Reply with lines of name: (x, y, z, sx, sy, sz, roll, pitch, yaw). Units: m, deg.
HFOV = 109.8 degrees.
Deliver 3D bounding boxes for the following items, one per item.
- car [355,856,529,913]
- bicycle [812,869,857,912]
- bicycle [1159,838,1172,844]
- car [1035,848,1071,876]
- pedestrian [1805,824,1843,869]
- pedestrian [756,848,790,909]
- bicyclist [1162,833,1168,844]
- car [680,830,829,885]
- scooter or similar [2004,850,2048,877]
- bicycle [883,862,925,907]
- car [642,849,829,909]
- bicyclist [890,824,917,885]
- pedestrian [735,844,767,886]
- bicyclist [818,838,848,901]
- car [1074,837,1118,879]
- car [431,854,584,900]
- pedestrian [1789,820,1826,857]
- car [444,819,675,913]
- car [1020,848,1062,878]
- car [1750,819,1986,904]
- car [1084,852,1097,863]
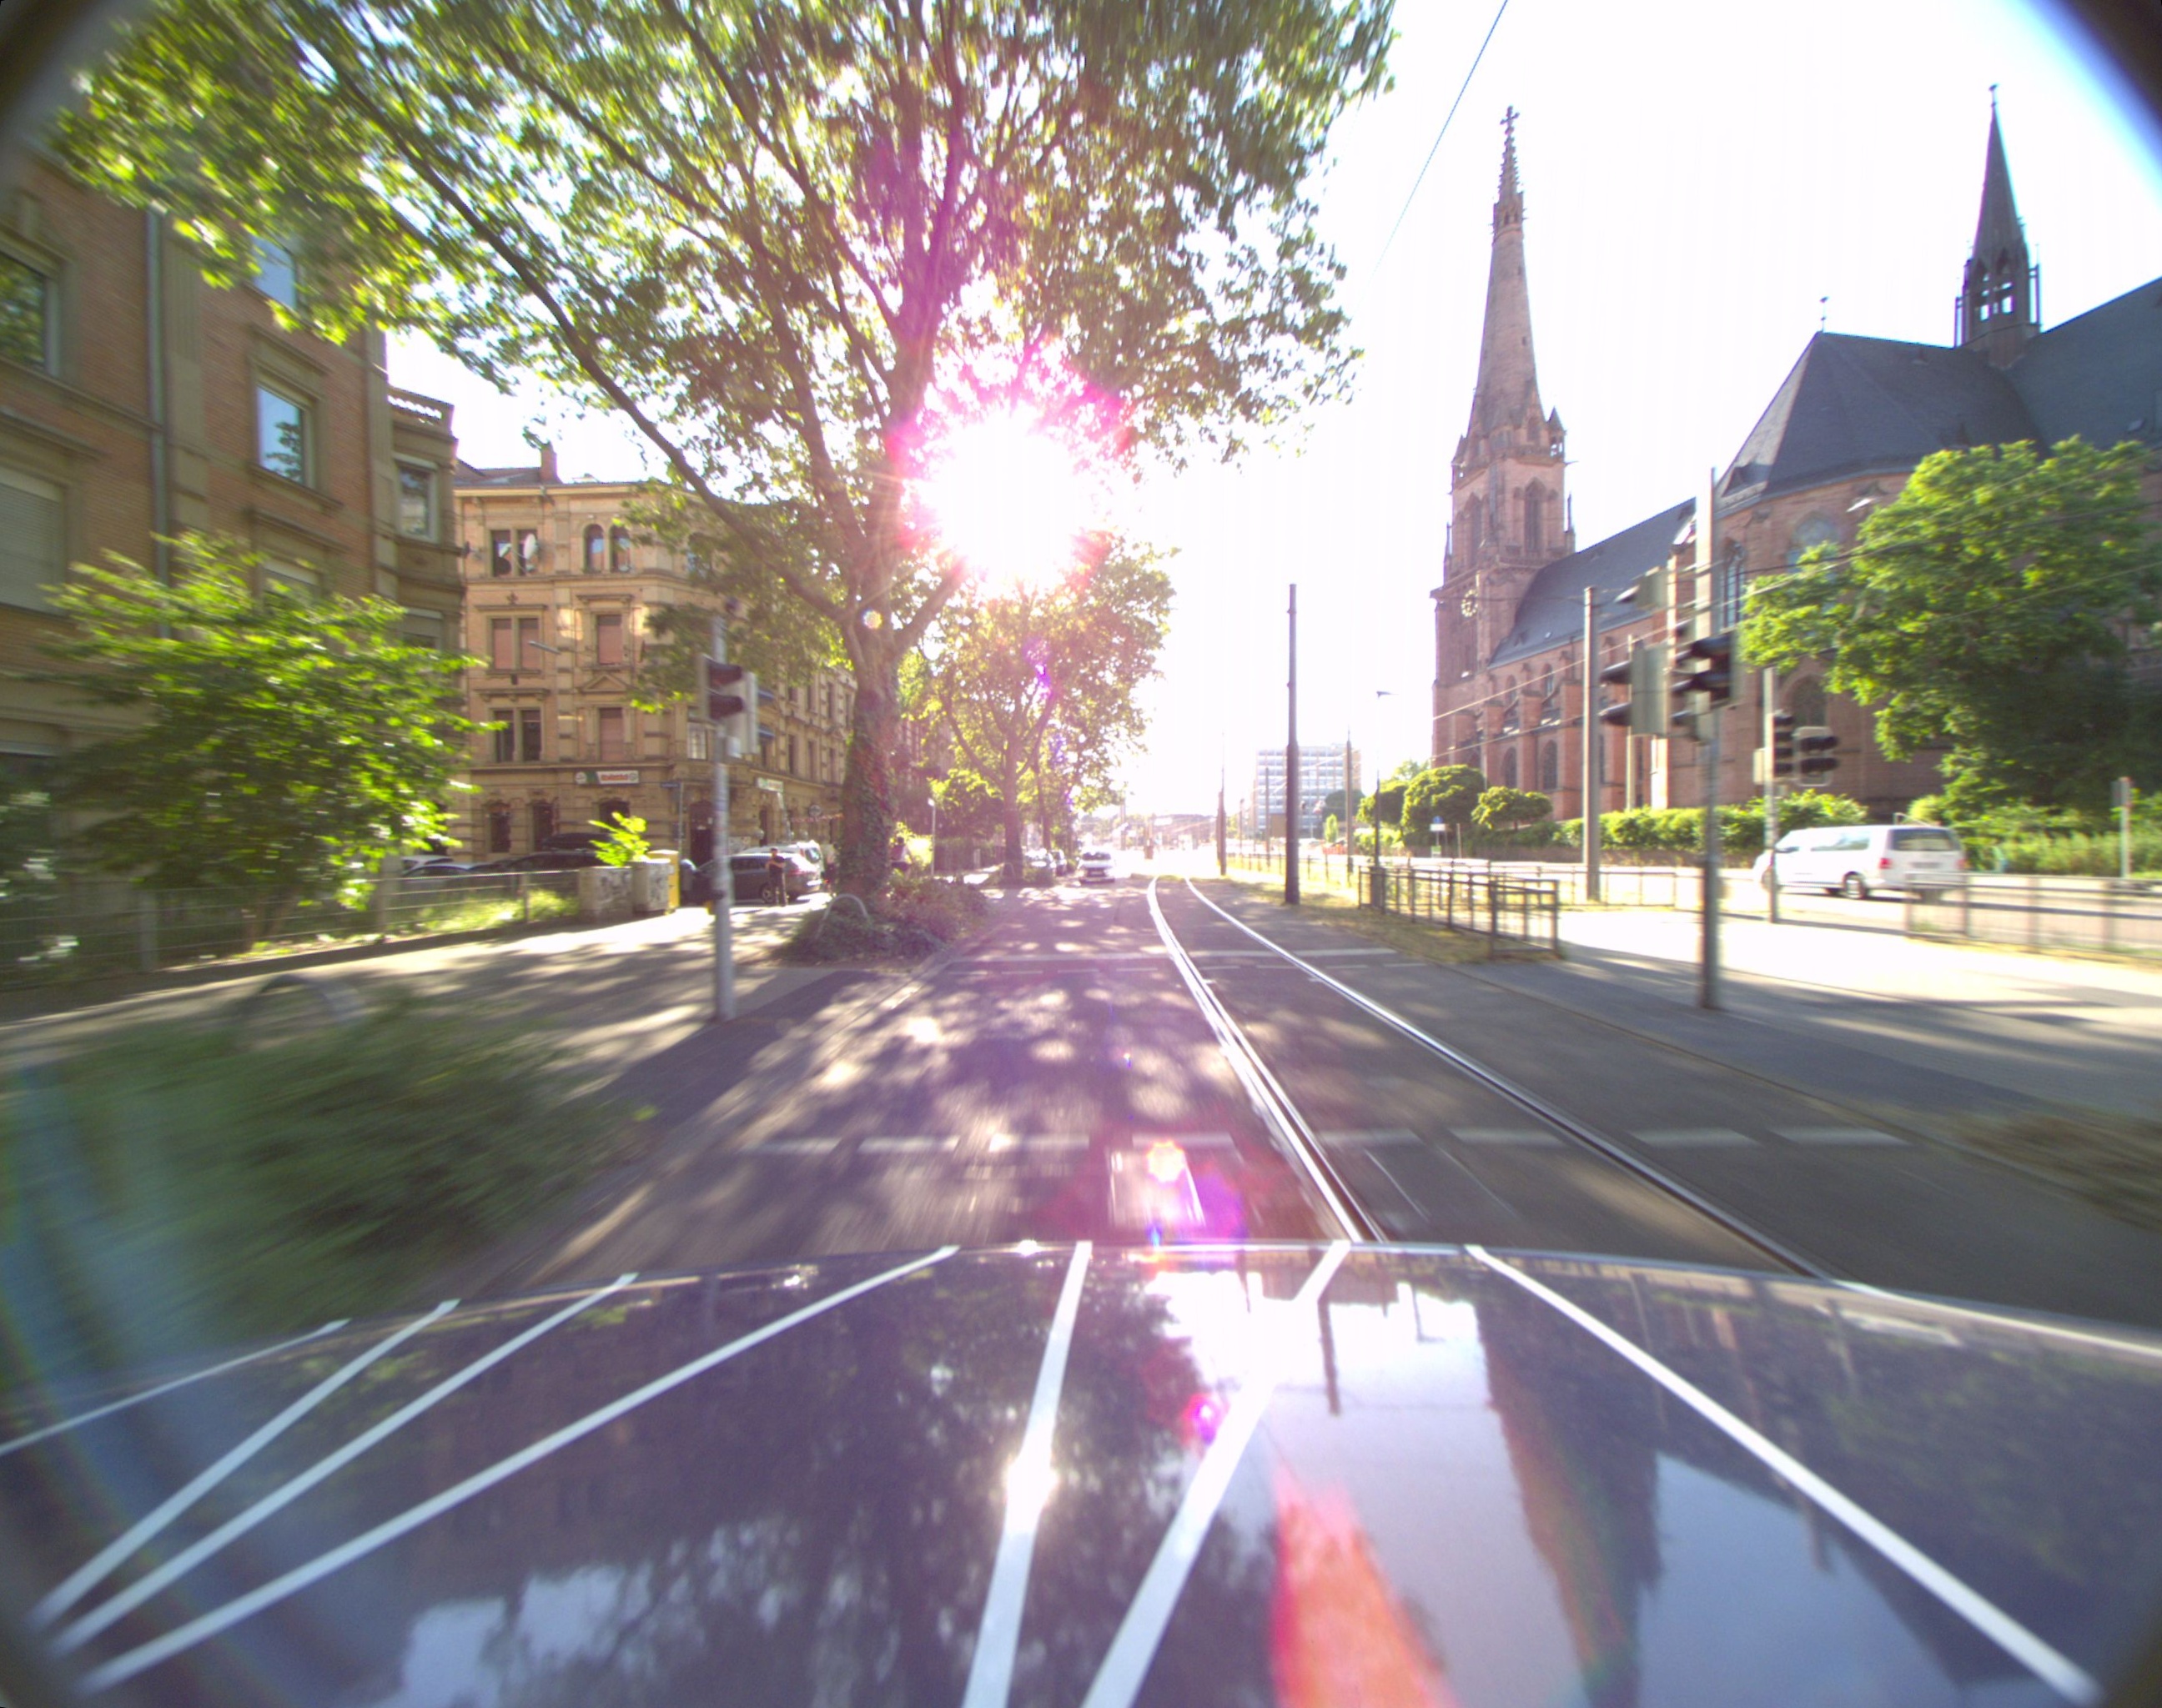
car: (-19.003, 0.872, 22.699, 3.817, 1.535, 1.754, 1, 1, 4)
bicycle: (-6.423, 0.932, 19.871, 0.562, 1.031, 1.933, 3, -1, -2)
bicycle: (14.406, -2.220, 129.657, 2.062, 1.077, 0.611, -1, 1, 20)
car: (-1.620, 0.431, 45.782, 1.679, 1.507, 4.724, 2, 0, 3)
pedestrian: (30.273, -0.310, 30.958, 0.587, 1.774, 0.946, -1, 1, -1)
pedestrian: (-7.941, 0.625, 19.598, 0.540, 1.540, 0.607, 2, -2, 1)
bicyclist: (14.374, -2.629, 129.657, 0.775, 1.861, 0.611, -1, 1, 20)
car: (-11.720, 0.121, 27.454, 4.558, 1.835, 1.907, 1, 1, 2)
scooter or similar: (32.638, 0.320, 26.252, 0.309, 0.930, 0.919, -2, 1, -19)
bicycle: (-4.847, 0.838, 20.942, 0.562, 1.171, 2.227, 1, -2, 1)
car: (-10.050, 0.695, 22.359, 4.559, 1.530, 1.907, -2, 1, -1)
bicyclist: (-4.831, 0.028, 20.680, 0.544, 1.615, 0.644, 1, -1, 1)
pedestrian: (-12.987, 0.422, 29.899, 0.888, 1.582, 0.875, -1, 1, -5)
bicyclist: (-6.454, 0.397, 19.782, 0.544, 1.616, 0.644, 2, 0, -5)
car: (0.755, 0.158, 34.458, 1.823, 1.729, 4.000, -1, 1, 3)
car: (-20.888, 0.801, 27.799, 4.180, 1.553, 1.907, 1, 1, 2)
pedestrian: (29.617, -0.614, 30.971, 0.587, 1.480, 0.946, -1, 1, -1)
car: (-12.280, 0.318, 18.114, 3.997, 2.001, 2.001, 2, -3, 0)
car: (-2.002, 0.434, 39.330, 1.680, 1.386, 4.570, 2, 0, 3)
car: (21.670, 0.161, 21.324, 1.996, 2.002, 5.016, 3, 1, 11)
car: (1.429, 0.470, 111.881, 1.823, 1.605, 4.000, -1, 0, 1)
